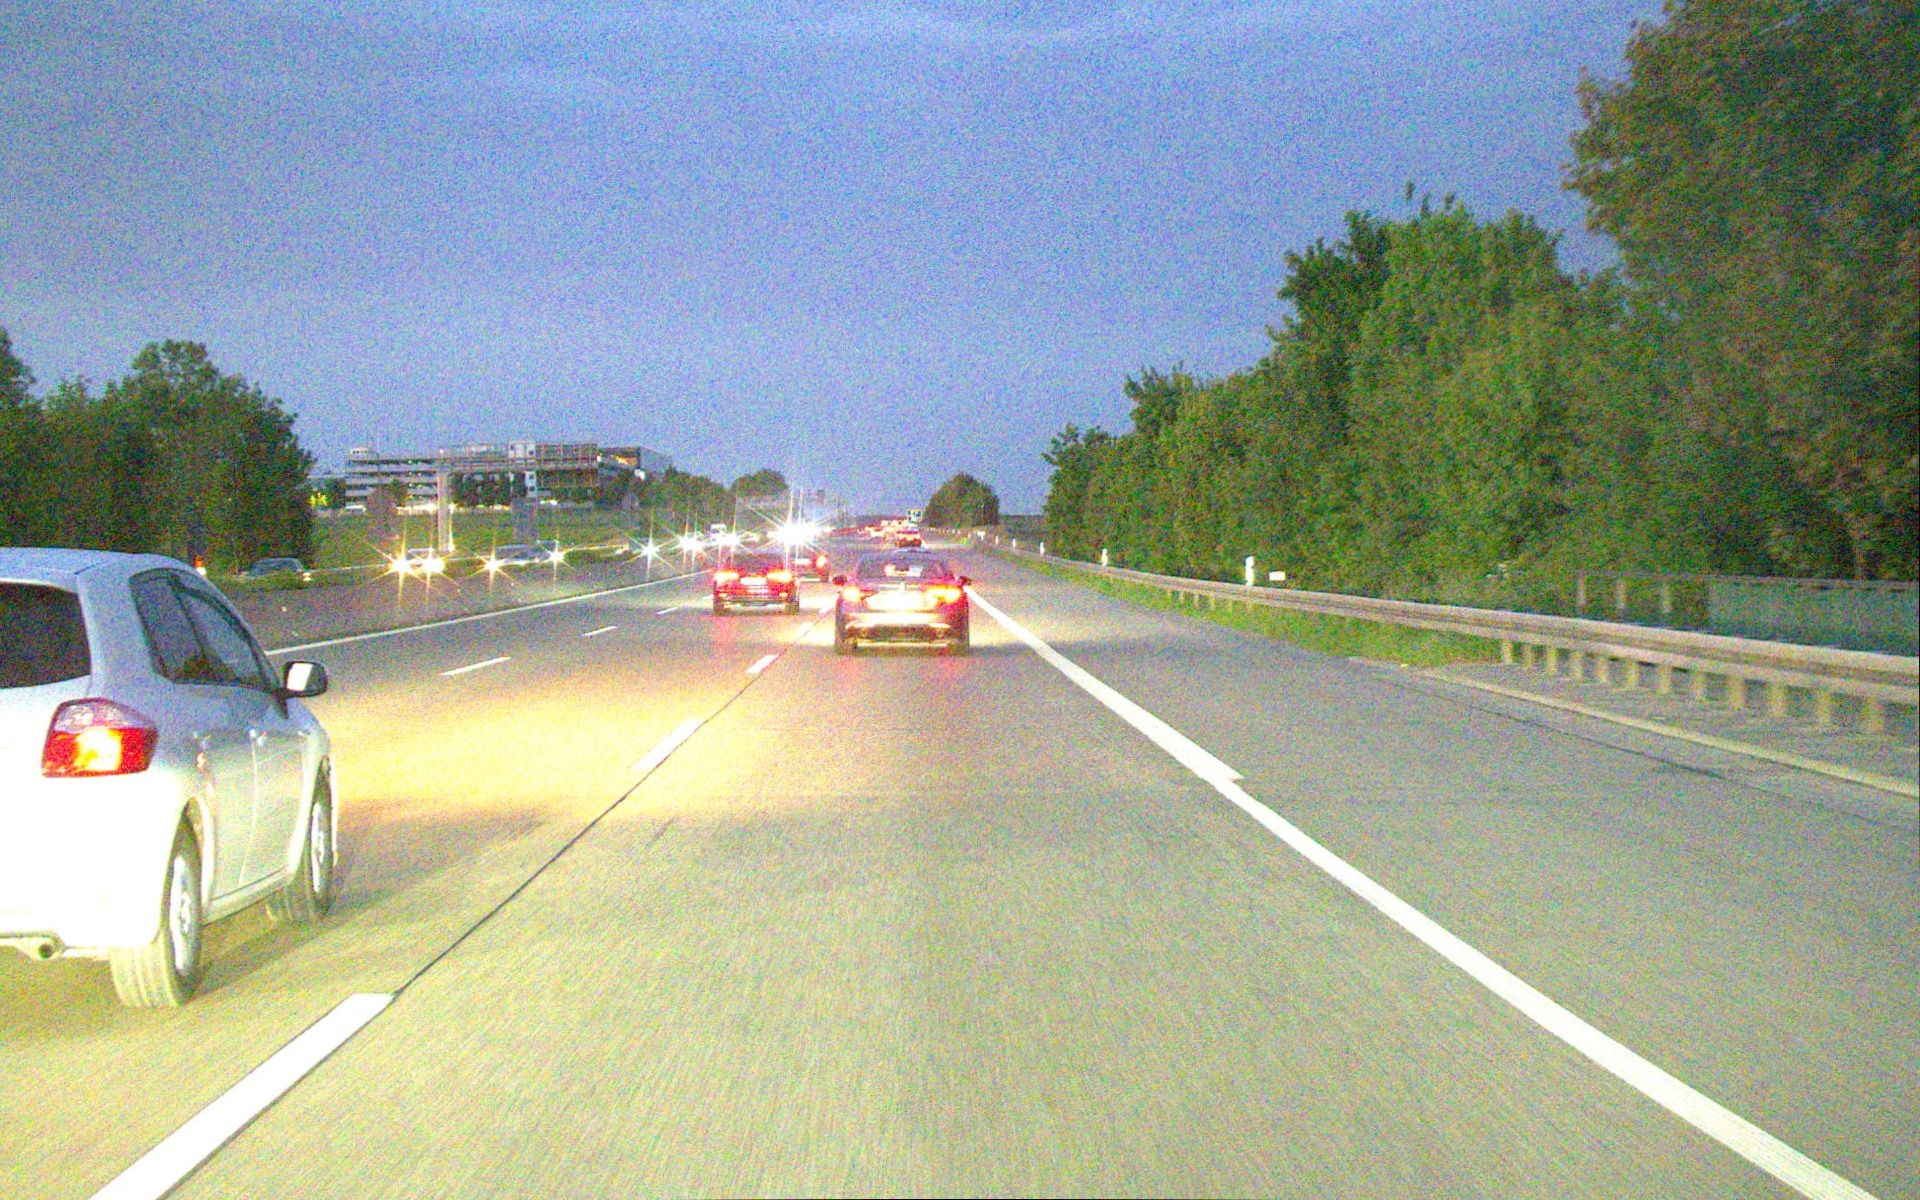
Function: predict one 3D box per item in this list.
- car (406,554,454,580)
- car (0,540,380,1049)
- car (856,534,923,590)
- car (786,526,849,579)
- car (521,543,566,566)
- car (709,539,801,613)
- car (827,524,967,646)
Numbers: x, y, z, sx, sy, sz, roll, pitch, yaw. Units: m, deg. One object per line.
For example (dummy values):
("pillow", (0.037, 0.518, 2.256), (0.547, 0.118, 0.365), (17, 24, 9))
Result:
("car", (-25.093, -1.559, 162.990), (1.718, 1.174, 4.000), (1, 1, -1))
("car", (-3.338, 0.552, 12.494), (1.744, 1.519, 4.414), (1, 1, -1))
("car", (-2.052, -1.088, 99.251), (1.880, 1.547, 4.000), (1, 1, -2))
("car", (-5.216, -1.727, 125.922), (2.199, 1.873, 4.000), (1, 1, -1))
("car", (-22.125, -2.398, 182.737), (1.931, 1.174, 4.000), (1, 1, -1))
("car", (-4.452, -0.523, 75.143), (1.880, 1.547, 4.000), (1, 1, -2))
("car", (-0.897, -0.223, 48.669), (1.880, 1.637, 4.000), (1, 1, -1))
